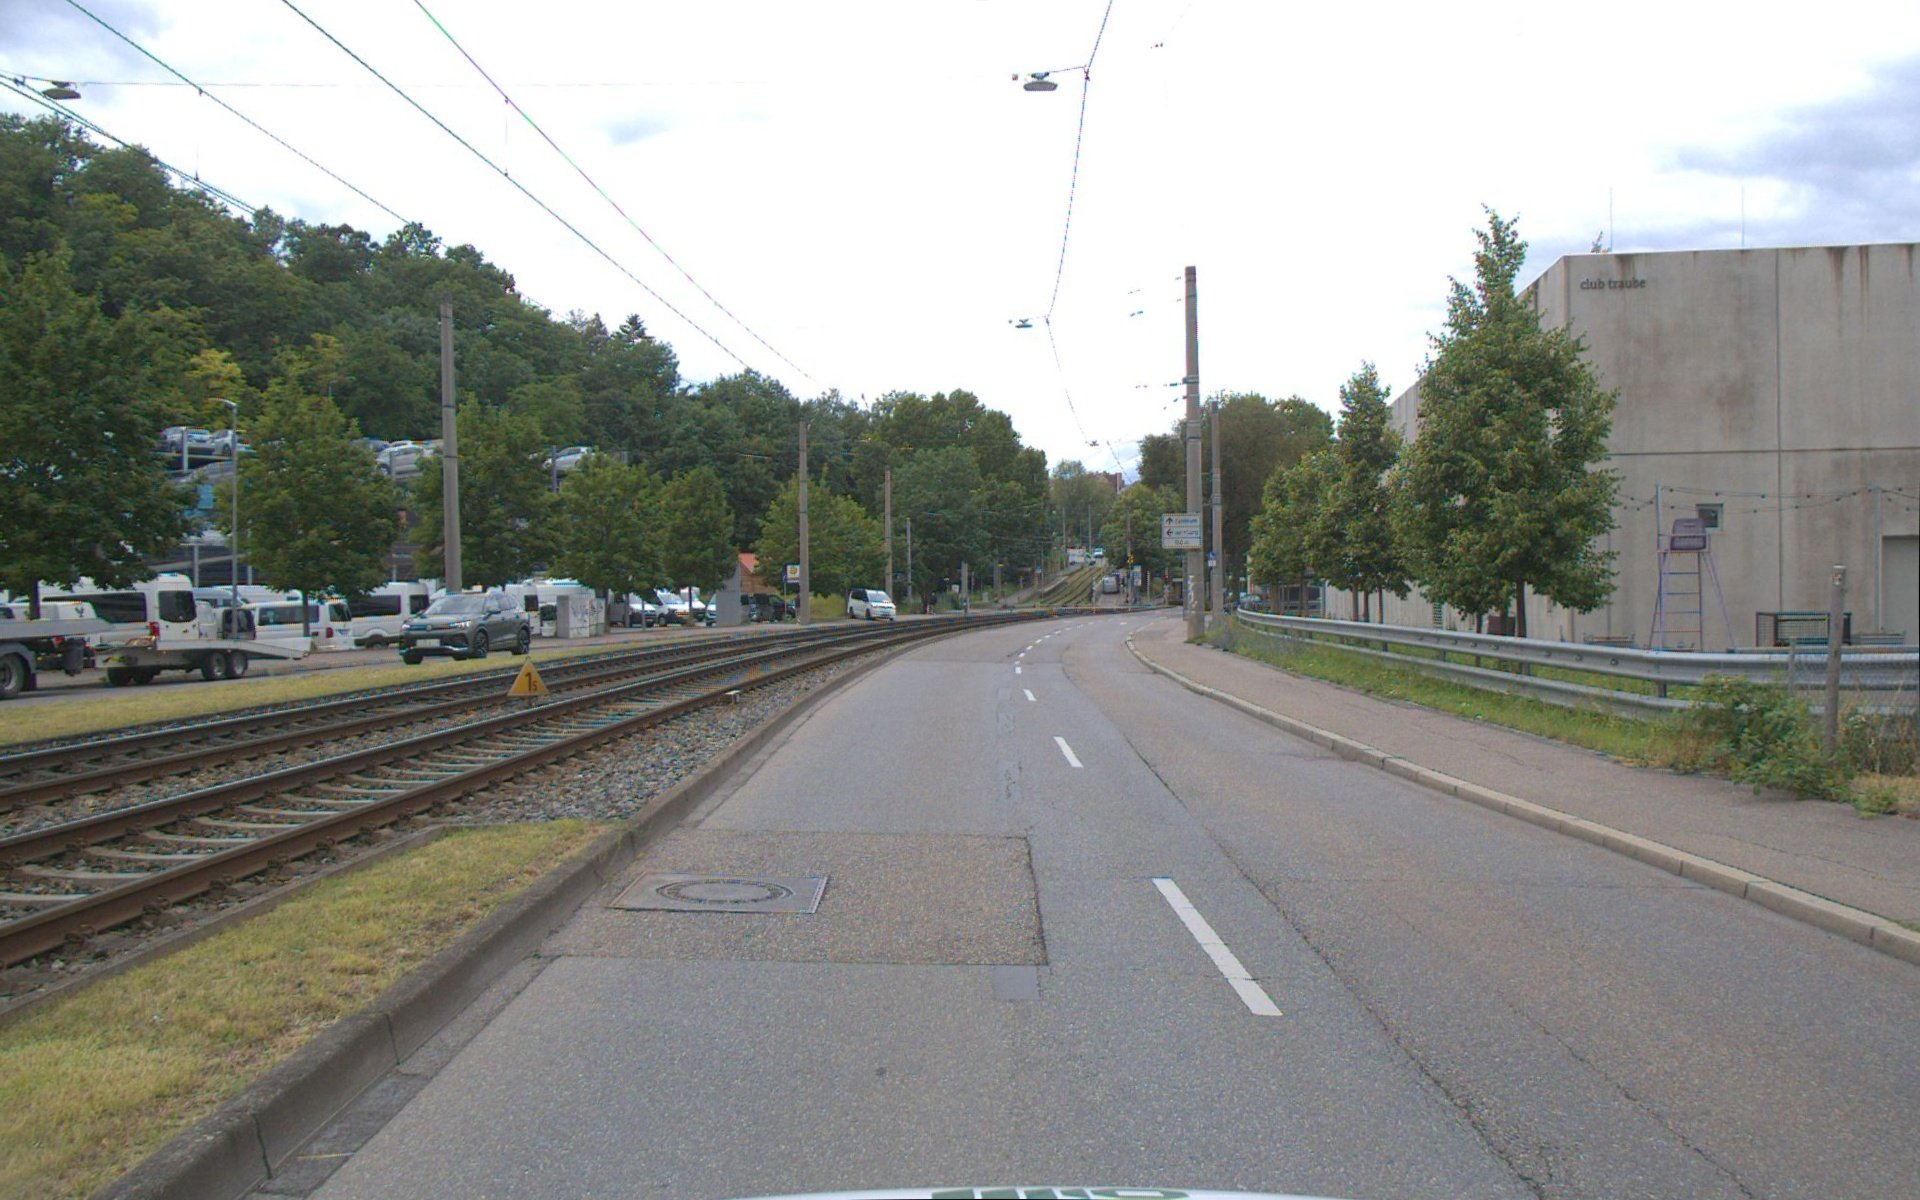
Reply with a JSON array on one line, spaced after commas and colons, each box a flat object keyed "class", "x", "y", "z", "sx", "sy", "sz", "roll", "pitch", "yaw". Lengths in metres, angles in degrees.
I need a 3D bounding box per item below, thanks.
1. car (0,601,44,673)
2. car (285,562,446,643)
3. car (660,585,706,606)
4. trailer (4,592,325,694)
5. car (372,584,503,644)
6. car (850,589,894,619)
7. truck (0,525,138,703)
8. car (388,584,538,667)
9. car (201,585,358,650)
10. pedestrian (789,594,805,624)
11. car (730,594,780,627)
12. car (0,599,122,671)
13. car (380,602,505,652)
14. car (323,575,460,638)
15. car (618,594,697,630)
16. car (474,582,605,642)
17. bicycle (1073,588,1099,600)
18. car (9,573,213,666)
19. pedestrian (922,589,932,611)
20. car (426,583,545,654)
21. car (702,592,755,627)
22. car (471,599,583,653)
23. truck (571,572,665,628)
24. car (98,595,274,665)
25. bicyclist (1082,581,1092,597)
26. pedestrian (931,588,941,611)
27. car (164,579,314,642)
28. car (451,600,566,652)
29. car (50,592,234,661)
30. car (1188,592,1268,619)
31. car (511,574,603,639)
[{"class": "car", "x": -24.189, "y": 0.882, "z": 38.926, "sx": 4.272, "sy": 1.646, "sz": 2.006, "roll": -1, "pitch": 0, "yaw": 10}, {"class": "car", "x": -20.796, "y": 0.099, "z": 57.954, "sx": 4.860, "sy": 2.746, "sz": 2.116, "roll": -1, "pitch": 0, "yaw": 5}, {"class": "car", "x": -27.482, "y": -0.427, "z": 164.280, "sx": 1.963, "sy": 2.049, "sz": 4.380, "roll": 0, "pitch": 0, "yaw": 40}, {"class": "trailer", "x": -15.538, "y": 0.768, "z": 32.982, "sx": 2.332, "sy": 1.728, "sz": 6.953, "roll": -3, "pitch": 0, "yaw": 7}, {"class": "car", "x": -19.863, "y": 0.537, "z": 63.007, "sx": 4.273, "sy": 2.211, "sz": 2.005, "roll": -1, "pitch": 0, "yaw": 5}, {"class": "car", "x": -6.044, "y": 0.249, "z": 113.087, "sx": 2.122, "sy": 1.921, "sz": 5.055, "roll": 2, "pitch": 0, "yaw": -14}, {"class": "truck", "x": -16.509, "y": 0.277, "z": 24.956, "sx": 2.698, "sy": 2.789, "sz": 9.225, "roll": -3, "pitch": 0, "yaw": 6}, {"class": "car", "x": -11.770, "y": 0.598, "z": 39.516, "sx": 1.952, "sy": 1.770, "sz": 4.535, "roll": -3, "pitch": -1, "yaw": 3}, {"class": "car", "x": -22.137, "y": 0.550, "z": 53.874, "sx": 4.273, "sy": 2.045, "sz": 2.005, "roll": -1, "pitch": 0, "yaw": 5}, {"class": "pedestrian", "x": -9.327, "y": 0.521, "z": 94.783, "sx": 0.703, "sy": 1.684, "sz": 1.043, "roll": 2, "pitch": 0, "yaw": 2}, {"class": "car", "x": -13.319, "y": 0.642, "z": 107.768, "sx": 1.951, "sy": 2.049, "sz": 5.134, "roll": -1, "pitch": 0, "yaw": 8}, {"class": "car", "x": -23.490, "y": 0.867, "z": 41.164, "sx": 4.273, "sy": 1.718, "sz": 2.033, "roll": -1, "pitch": 0, "yaw": 6}, {"class": "car", "x": -20.588, "y": 1.066, "z": 65.920, "sx": 4.273, "sy": 1.944, "sz": 2.005, "roll": -1, "pitch": 0, "yaw": 5}, {"class": "car", "x": -20.776, "y": 0.227, "z": 60.564, "sx": 4.273, "sy": 2.211, "sz": 2.005, "roll": -1, "pitch": 0, "yaw": 5}, {"class": "car", "x": -17.926, "y": 0.729, "z": 98.019, "sx": 4.637, "sy": 2.049, "sz": 1.992, "roll": -1, "pitch": 0, "yaw": 37}, {"class": "car", "x": -19.334, "y": 0.555, "z": 76.082, "sx": 5.356, "sy": 2.647, "sz": 2.248, "roll": -1, "pitch": 0, "yaw": 9}, {"class": "bicycle", "x": 14.718, "y": -0.660, "z": 193.150, "sx": 2.930, "sy": 1.367, "sz": 0.825, "roll": -1, "pitch": 0, "yaw": -8}, {"class": "car", "x": -22.431, "y": 0.513, "z": 43.797, "sx": 4.400, "sy": 2.352, "sz": 2.127, "roll": -1, "pitch": 0, "yaw": 10}, {"class": "pedestrian", "x": -2.679, "y": -0.008, "z": 135.727, "sx": 0.614, "sy": 1.743, "sz": 0.856, "roll": 1, "pitch": 0, "yaw": 12}, {"class": "car", "x": -19.527, "y": 0.752, "z": 68.179, "sx": 4.273, "sy": 2.868, "sz": 2.005, "roll": -1, "pitch": 0, "yaw": 5}, {"class": "car", "x": -14.188, "y": 0.543, "z": 101.482, "sx": 1.951, "sy": 2.049, "sz": 4.923, "roll": -1, "pitch": 0, "yaw": 7}, {"class": "car", "x": -19.129, "y": 1.144, "z": 73.200, "sx": 4.274, "sy": 2.142, "sz": 2.005, "roll": 3, "pitch": 0, "yaw": 5}, {"class": "truck", "x": -19.833, "y": 0.000, "z": 95.874, "sx": 5.825, "sy": 3.139, "sz": 2.110, "roll": -1, "pitch": 0, "yaw": 39}, {"class": "car", "x": -22.726, "y": 0.858, "z": 48.629, "sx": 4.272, "sy": 1.981, "sz": 2.006, "roll": -1, "pitch": 0, "yaw": 10}, {"class": "bicyclist", "x": 14.859, "y": -1.278, "z": 193.165, "sx": 1.028, "sy": 1.881, "sz": 0.822, "roll": -1, "pitch": 0, "yaw": -8}, {"class": "pedestrian", "x": -1.951, "y": -0.019, "z": 135.713, "sx": 0.662, "sy": 1.845, "sz": 0.856, "roll": 1, "pitch": 0, "yaw": 12}, {"class": "car", "x": -31.277, "y": 0.423, "z": 71.969, "sx": 5.847, "sy": 2.647, "sz": 1.992, "roll": -1, "pitch": 0, "yaw": -21}, {"class": "car", "x": -19.191, "y": 1.109, "z": 70.396, "sx": 4.273, "sy": 2.142, "sz": 2.005, "roll": -1, "pitch": 0, "yaw": 5}, {"class": "car", "x": -22.929, "y": 0.731, "z": 46.436, "sx": 4.272, "sy": 1.877, "sz": 2.006, "roll": -1, "pitch": 0, "yaw": 10}, {"class": "car", "x": 15.088, "y": 0.284, "z": 93.221, "sx": 4.153, "sy": 1.468, "sz": 1.755, "roll": 1, "pitch": 1, "yaw": 39}, {"class": "car", "x": -19.728, "y": 0.289, "z": 81.208, "sx": 2.062, "sy": 3.072, "sz": 5.942, "roll": -1, "pitch": 0, "yaw": 11}]
